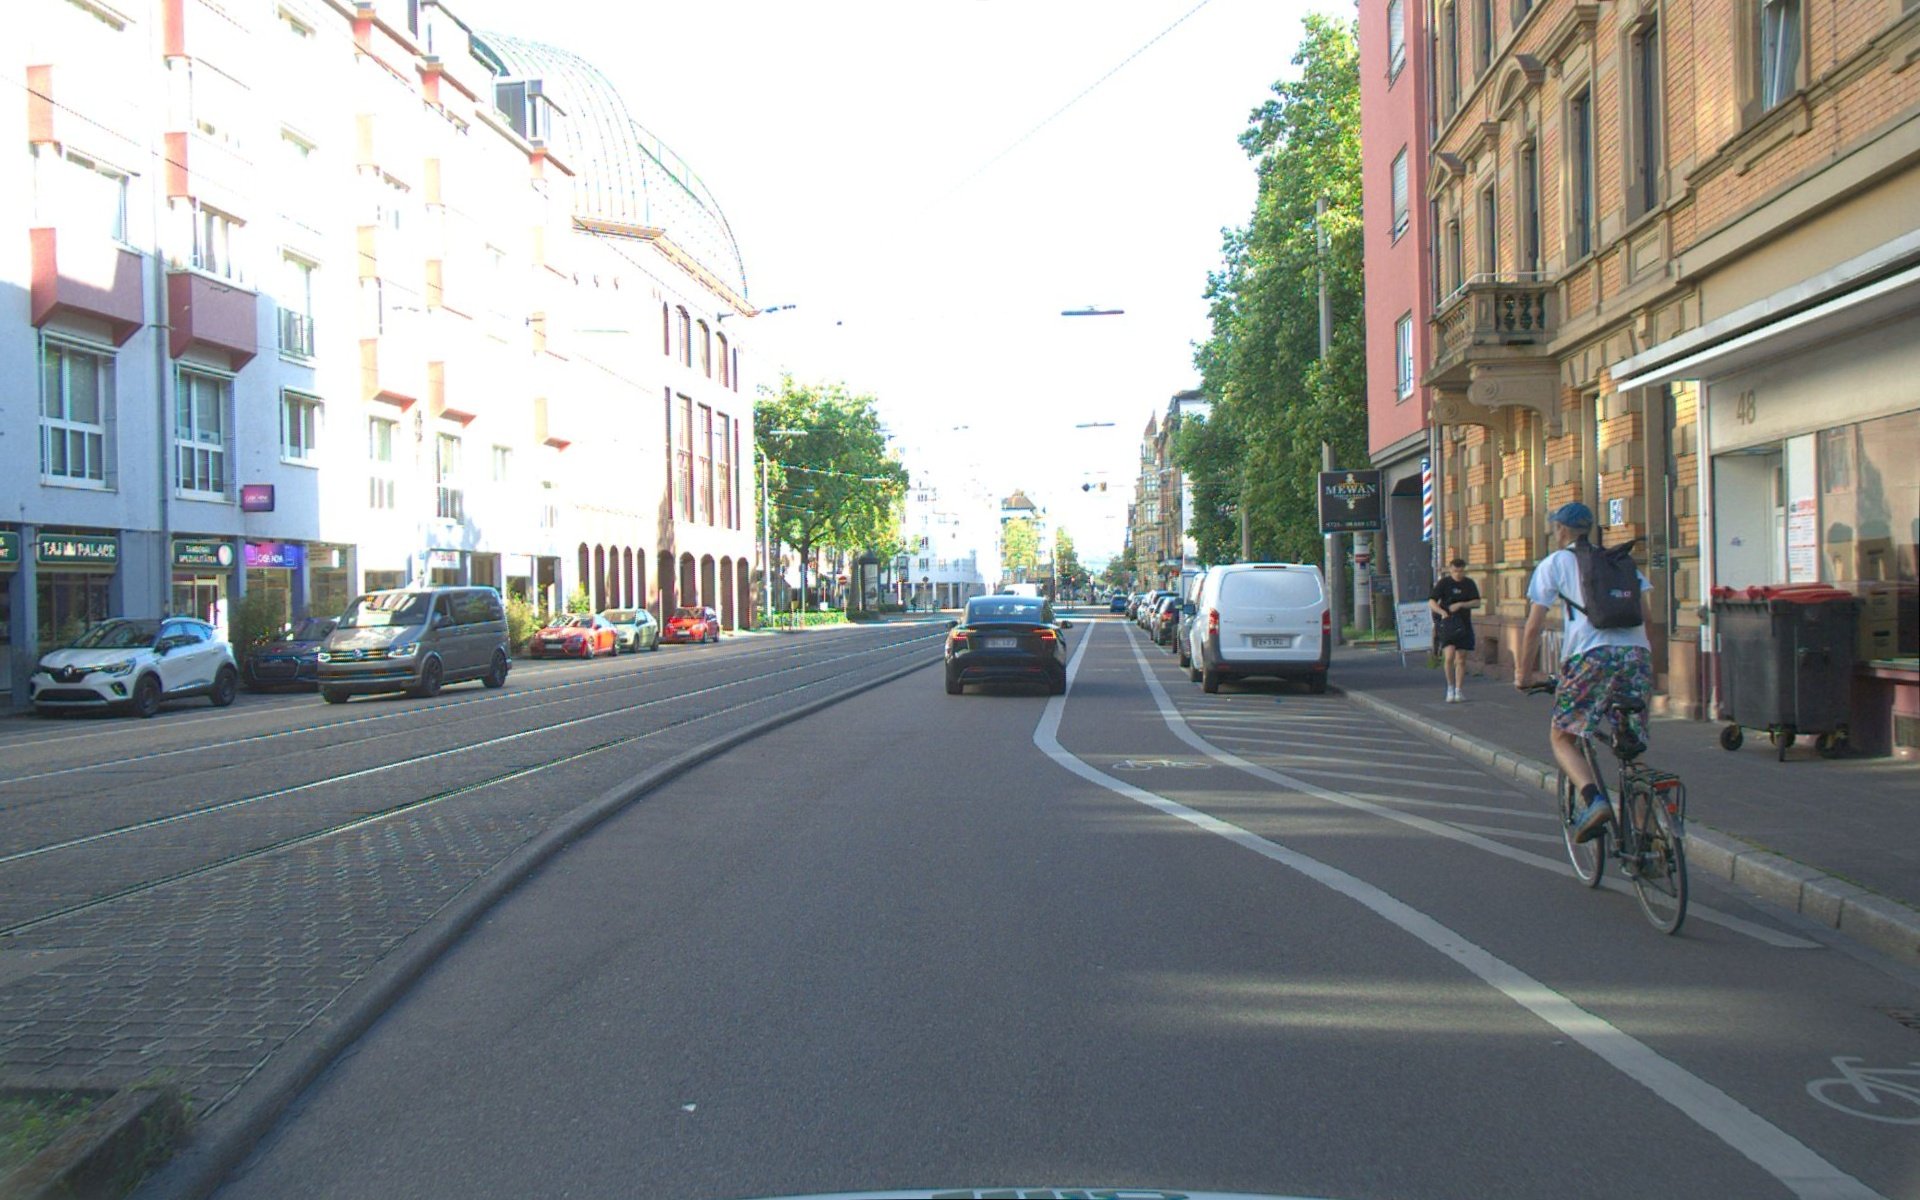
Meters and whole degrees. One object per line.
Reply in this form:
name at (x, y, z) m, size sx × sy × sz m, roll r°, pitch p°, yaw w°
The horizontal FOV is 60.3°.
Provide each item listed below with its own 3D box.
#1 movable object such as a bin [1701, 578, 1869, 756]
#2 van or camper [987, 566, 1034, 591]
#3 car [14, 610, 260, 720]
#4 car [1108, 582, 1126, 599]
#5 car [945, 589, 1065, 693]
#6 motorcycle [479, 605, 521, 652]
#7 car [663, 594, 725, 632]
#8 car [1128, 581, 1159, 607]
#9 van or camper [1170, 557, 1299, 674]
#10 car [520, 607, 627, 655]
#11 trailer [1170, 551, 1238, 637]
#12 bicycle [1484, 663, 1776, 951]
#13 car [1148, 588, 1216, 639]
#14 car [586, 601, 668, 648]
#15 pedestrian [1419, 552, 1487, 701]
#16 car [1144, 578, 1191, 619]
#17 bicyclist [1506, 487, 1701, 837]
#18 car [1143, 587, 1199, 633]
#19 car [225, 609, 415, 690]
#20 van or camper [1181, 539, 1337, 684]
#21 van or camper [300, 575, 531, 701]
movable object such as a bin at (6.712, 0.518, 13.523) m, size 0.759 × 1.371 × 1.300 m, roll -1°, pitch 0°, yaw 3°
van or camper at (5.813, -2.471, 190.741) m, size 2.102 × 2.700 × 6.861 m, roll -2°, pitch 0°, yaw 33°
car at (-13.975, 1.046, 28.399) m, size 1.877 × 1.642 × 4.371 m, roll -1°, pitch 1°, yaw 2°
car at (14.051, -0.886, 147.616) m, size 1.560 × 1.458 × 3.689 m, roll -2°, pitch 0°, yaw 6°
car at (0.753, 0.566, 25.401) m, size 1.683 × 1.430 × 3.712 m, roll 0°, pitch 1°, yaw 4°
motorcycle at (-13.645, 0.846, 49.113) m, size 0.508 × 1.320 × 2.083 m, roll 0°, pitch 1°, yaw 4°
car at (-10.712, 0.523, 66.835) m, size 1.624 × 1.446 × 3.622 m, roll 0°, pitch 1°, yaw 5°
car at (10.757, -0.370, 97.266) m, size 1.674 × 1.482 × 4.553 m, roll 0°, pitch 0°, yaw 5°
van or camper at (5.278, 0.251, 32.421) m, size 1.929 × 2.081 × 5.334 m, roll 1°, pitch 1°, yaw 3°
car at (-11.971, 0.927, 51.596) m, size 1.919 × 1.348 × 4.823 m, roll 0°, pitch 1°, yaw 4°
trailer at (6.371, -0.175, 43.521) m, size 1.625 × 2.154 × 3.845 m, roll 1°, pitch 0°, yaw 6°
bicycle at (3.266, 0.946, 8.285) m, size 0.634 × 1.159 × 2.096 m, roll 0°, pitch 0°, yaw 1°
car at (6.857, 0.384, 51.411) m, size 1.765 × 1.460 × 4.326 m, roll 1°, pitch 0°, yaw 3°
car at (-11.441, 0.828, 57.116) m, size 1.633 × 1.494 × 4.293 m, roll 0°, pitch 1°, yaw 5°
pedestrian at (6.238, 0.325, 20.957) m, size 0.658 × 1.845 × 0.756 m, roll -1°, pitch 0°, yaw 4°
car at (8.525, -0.089, 68.306) m, size 1.678 × 1.618 × 4.067 m, roll 0°, pitch 1°, yaw 4°
bicyclist at (3.262, 0.294, 8.454) m, size 0.641 × 1.684 × 0.927 m, roll -1°, pitch 0°, yaw 1°
car at (7.236, 0.321, 56.381) m, size 1.712 × 1.468 × 4.319 m, roll 0°, pitch 1°, yaw 10°
car at (-13.454, 0.995, 35.116) m, size 1.862 × 1.483 × 4.829 m, roll -1°, pitch 1°, yaw 4°
van or camper at (4.643, 0.156, 26.435) m, size 1.890 × 2.072 × 5.478 m, roll 0°, pitch 0°, yaw 4°
van or camper at (-9.680, 0.607, 29.872) m, size 1.951 × 1.974 × 4.838 m, roll -4°, pitch 0°, yaw 8°
